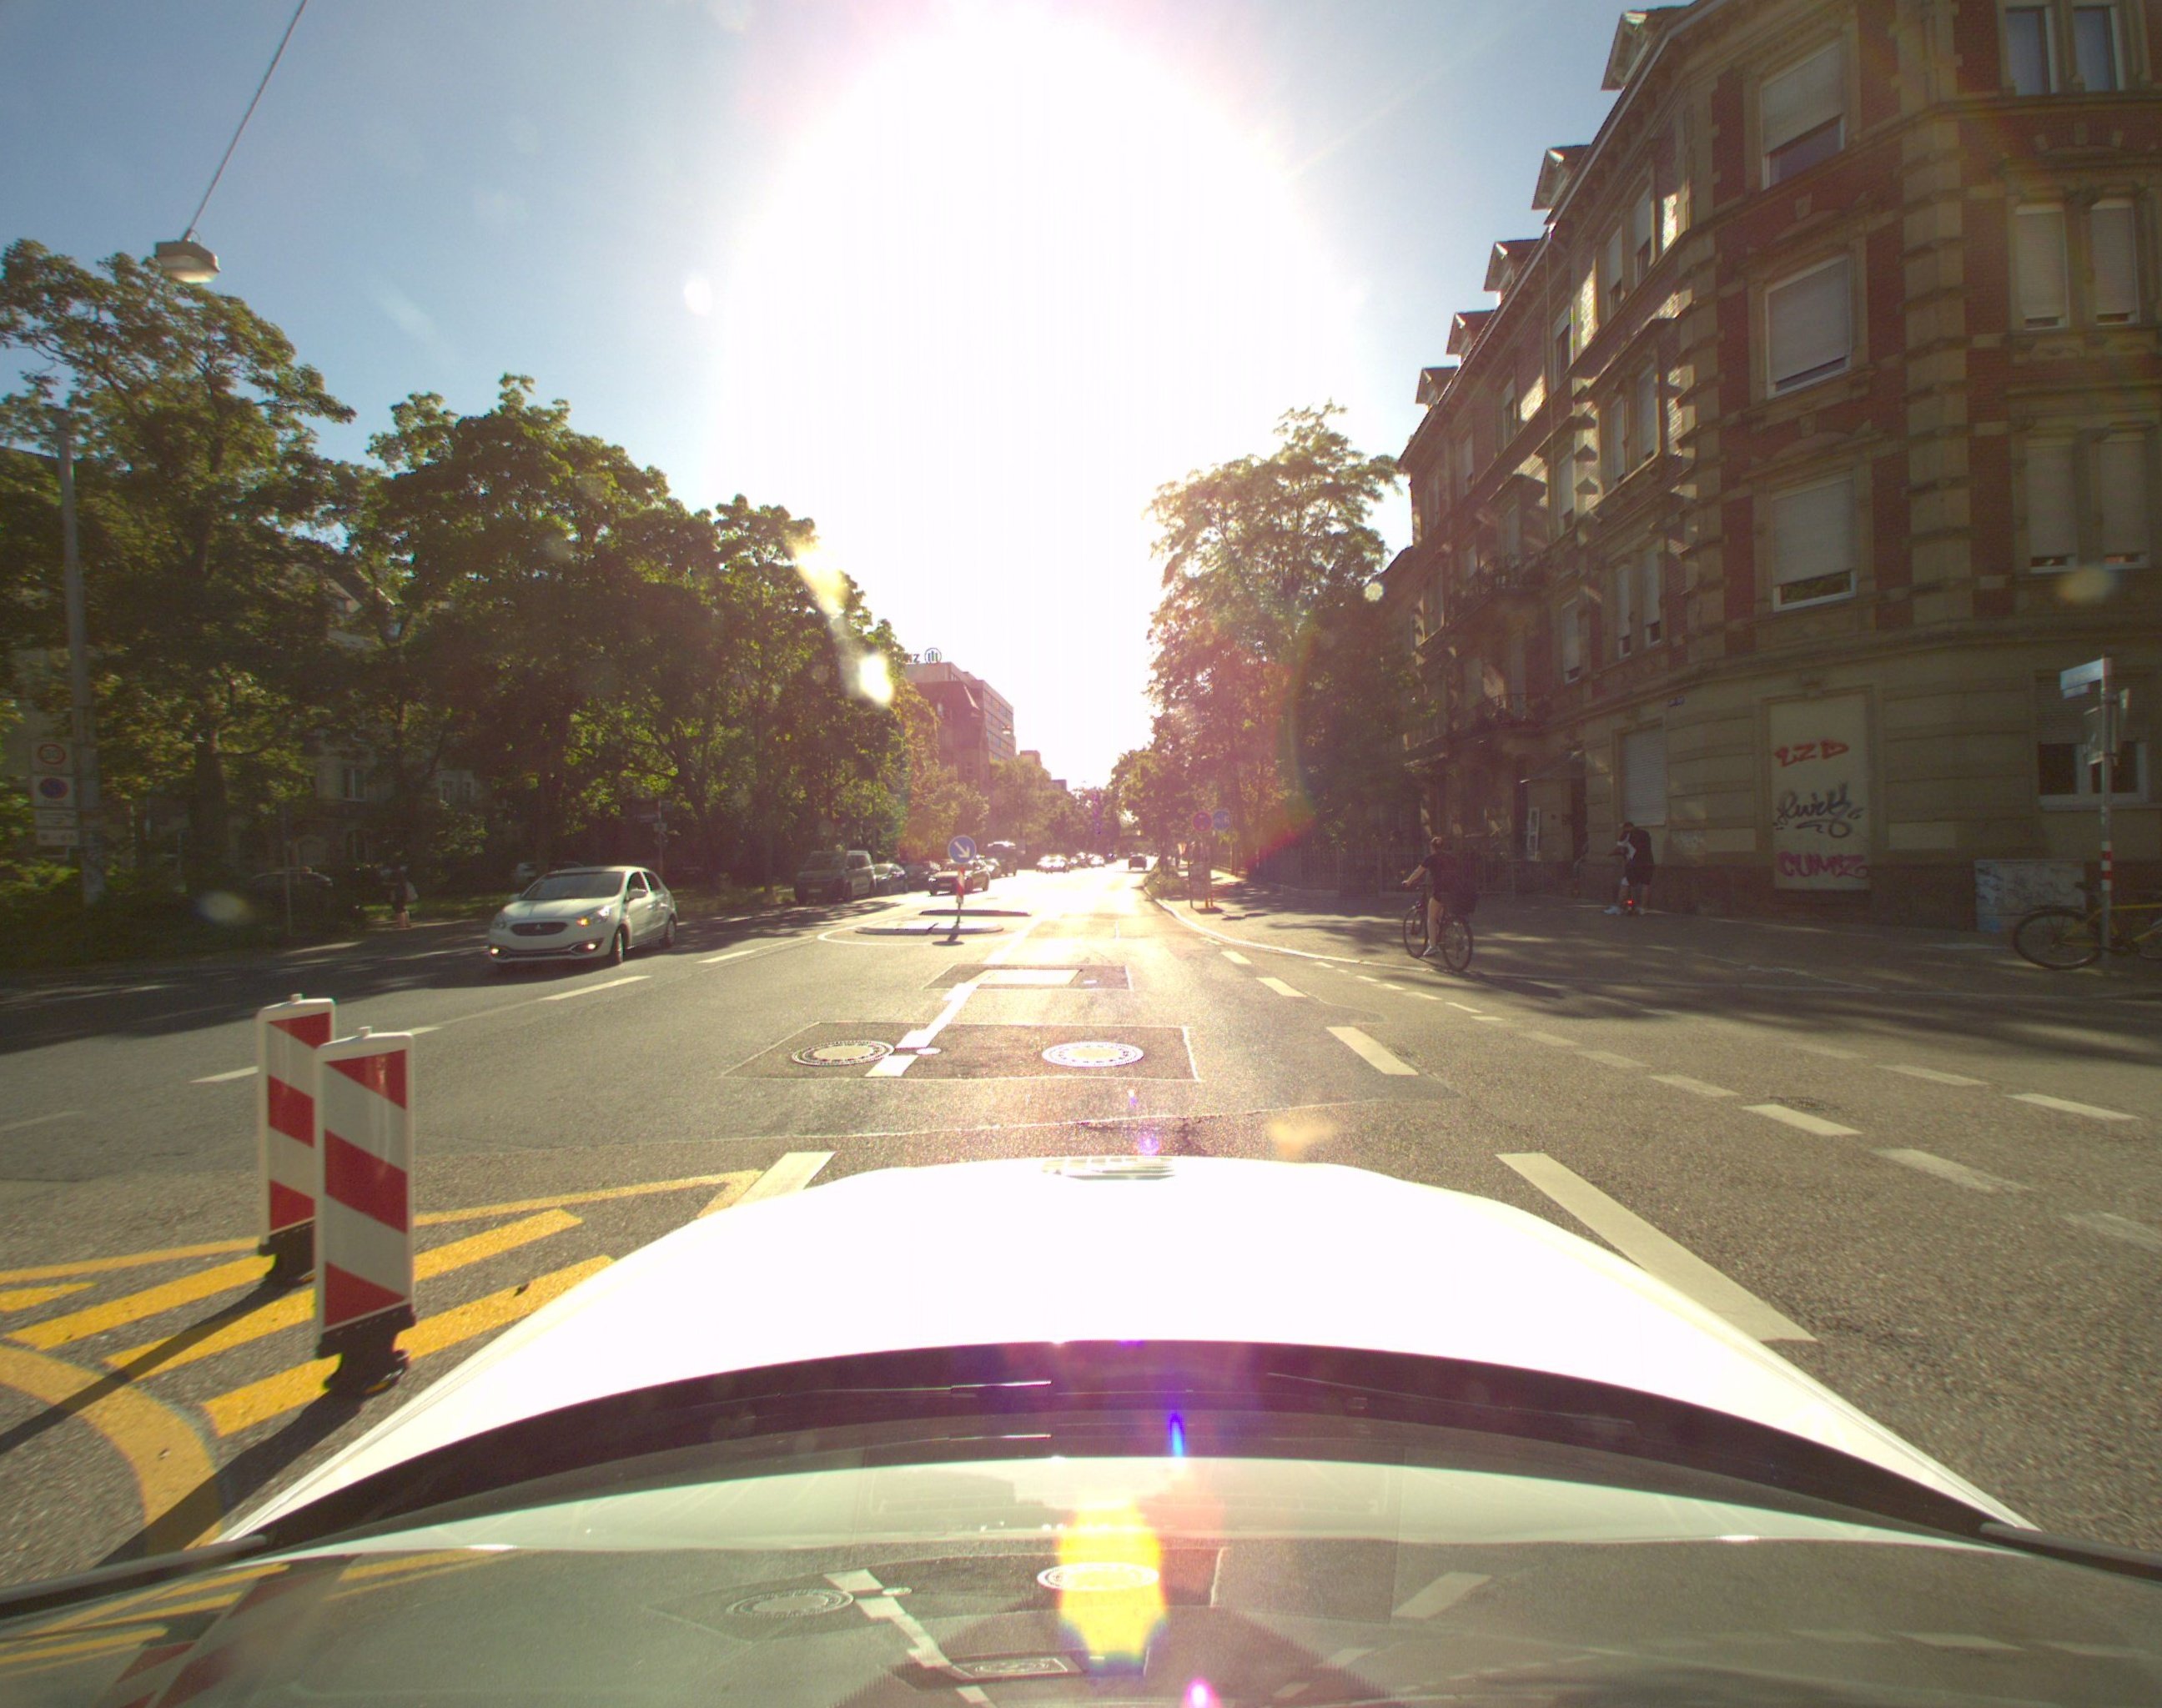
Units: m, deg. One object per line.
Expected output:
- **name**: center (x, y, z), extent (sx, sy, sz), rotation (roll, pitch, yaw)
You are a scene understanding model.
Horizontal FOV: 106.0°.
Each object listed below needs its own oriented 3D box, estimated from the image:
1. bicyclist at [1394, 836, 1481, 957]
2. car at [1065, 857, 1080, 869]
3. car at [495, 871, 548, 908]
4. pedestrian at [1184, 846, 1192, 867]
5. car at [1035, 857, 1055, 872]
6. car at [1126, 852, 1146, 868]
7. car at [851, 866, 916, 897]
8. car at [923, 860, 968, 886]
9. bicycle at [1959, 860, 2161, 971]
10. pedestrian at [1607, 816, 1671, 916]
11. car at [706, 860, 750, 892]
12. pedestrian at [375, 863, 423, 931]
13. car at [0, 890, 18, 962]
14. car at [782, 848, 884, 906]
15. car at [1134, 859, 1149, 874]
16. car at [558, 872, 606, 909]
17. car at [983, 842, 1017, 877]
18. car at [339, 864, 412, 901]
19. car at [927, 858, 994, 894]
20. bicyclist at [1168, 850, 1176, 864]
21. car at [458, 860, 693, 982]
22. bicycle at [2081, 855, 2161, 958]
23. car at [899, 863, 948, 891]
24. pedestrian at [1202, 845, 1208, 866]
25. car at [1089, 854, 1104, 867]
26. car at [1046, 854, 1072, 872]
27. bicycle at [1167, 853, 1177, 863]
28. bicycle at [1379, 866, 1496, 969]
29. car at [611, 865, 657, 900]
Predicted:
- **bicyclist**: center (4.862, 0.544, 11.173), extent (0.739, 1.580, 1.101), rotation (-1, 1, 2)
- **car**: center (-1.191, 1.258, 115.928), extent (1.927, 1.519, 4.031), rotation (-1, -3, 2)
- **car**: center (-28.089, 1.746, 40.963), extent (1.989, 1.662, 3.959), rotation (-2, 0, -32)
- **pedestrian**: center (10.335, 0.223, 78.767), extent (0.612, 2.013, 0.681), rotation (-2, 0, 1)
- **car**: center (-3.762, 1.058, 86.523), extent (1.795, 1.504, 3.809), rotation (-2, 0, 2)
- **car**: center (5.766, 0.627, 85.818), extent (1.887, 1.519, 4.002), rotation (1, 1, 1)
- **car**: center (-9.065, 1.284, 37.658), extent (1.705, 1.353, 4.004), rotation (-1, -3, 5)
- **car**: center (-8.113, 1.102, 49.044), extent (1.514, 1.432, 3.563), rotation (-2, 0, 9)
- **bicycle**: center (10.773, 0.622, 8.648), extent (0.699, 1.095, 1.947), rotation (-1, 0, -43)
- **pedestrian**: center (10.333, 0.233, 15.108), extent (0.652, 1.816, 0.752), rotation (-1, -3, 5)
- **car**: center (-19.904, 1.188, 46.009), extent (1.982, 1.662, 3.973), rotation (-2, 0, -20)
- **pedestrian**: center (-16.914, 1.061, 20.198), extent (0.662, 1.626, 0.720), rotation (-1, 0, 34)
- **car**: center (-25.879, 1.585, 17.048), extent (1.839, 1.654, 4.000), rotation (-1, -3, 1)
- **car**: center (-9.814, 0.909, 32.706), extent (2.189, 1.929, 4.866), rotation (-6, -2, 3)
- **car**: center (7.604, 1.557, 101.951), extent (1.811, 1.740, 4.005), rotation (-1, 0, 5)
- **car**: center (-25.408, 1.803, 41.556), extent (1.988, 1.662, 3.961), rotation (-2, 0, -31)
- **car**: center (-6.443, 0.399, 65.484), extent (1.818, 2.651, 5.167), rotation (-2, 0, 4)
- **car**: center (-31.671, 1.218, 36.670), extent (1.831, 1.499, 3.959), rotation (-2, 0, -32)
- **car**: center (-5.320, 0.955, 36.418), extent (1.774, 1.460, 4.425), rotation (-1, -1, 8)
- **bicyclist**: center (8.839, 0.332, 79.128), extent (0.678, 1.327, 0.636), rotation (0, -3, 1)
- **car**: center (-7.854, 0.932, 13.133), extent (1.758, 1.519, 3.848), rotation (-3, 1, -9)
- **bicycle**: center (12.198, 0.615, 8.765), extent (0.575, 1.094, 1.976), rotation (0, 3, 7)
- **car**: center (-8.338, 1.259, 43.345), extent (1.515, 1.433, 3.343), rotation (-1, -3, 8)
- **pedestrian**: center (12.032, 0.118, 78.743), extent (0.474, 2.014, 0.492), rotation (0, -3, 1)
- **car**: center (2.082, 0.872, 108.066), extent (1.927, 1.519, 4.031), rotation (-1, -3, 2)
- **car**: center (-1.931, 0.752, 71.593), extent (1.629, 1.519, 4.039), rotation (-2, 0, 8)
- **bicycle**: center (8.839, 0.401, 79.073), extent (0.672, 0.938, 2.282), rotation (-2, -2, 1)
- **bicycle**: center (4.821, 0.809, 11.174), extent (0.738, 1.219, 1.961), rotation (-4, 0, 2)
- **car**: center (-23.610, 1.434, 43.015), extent (1.987, 1.662, 3.962), rotation (-2, 0, -29)
